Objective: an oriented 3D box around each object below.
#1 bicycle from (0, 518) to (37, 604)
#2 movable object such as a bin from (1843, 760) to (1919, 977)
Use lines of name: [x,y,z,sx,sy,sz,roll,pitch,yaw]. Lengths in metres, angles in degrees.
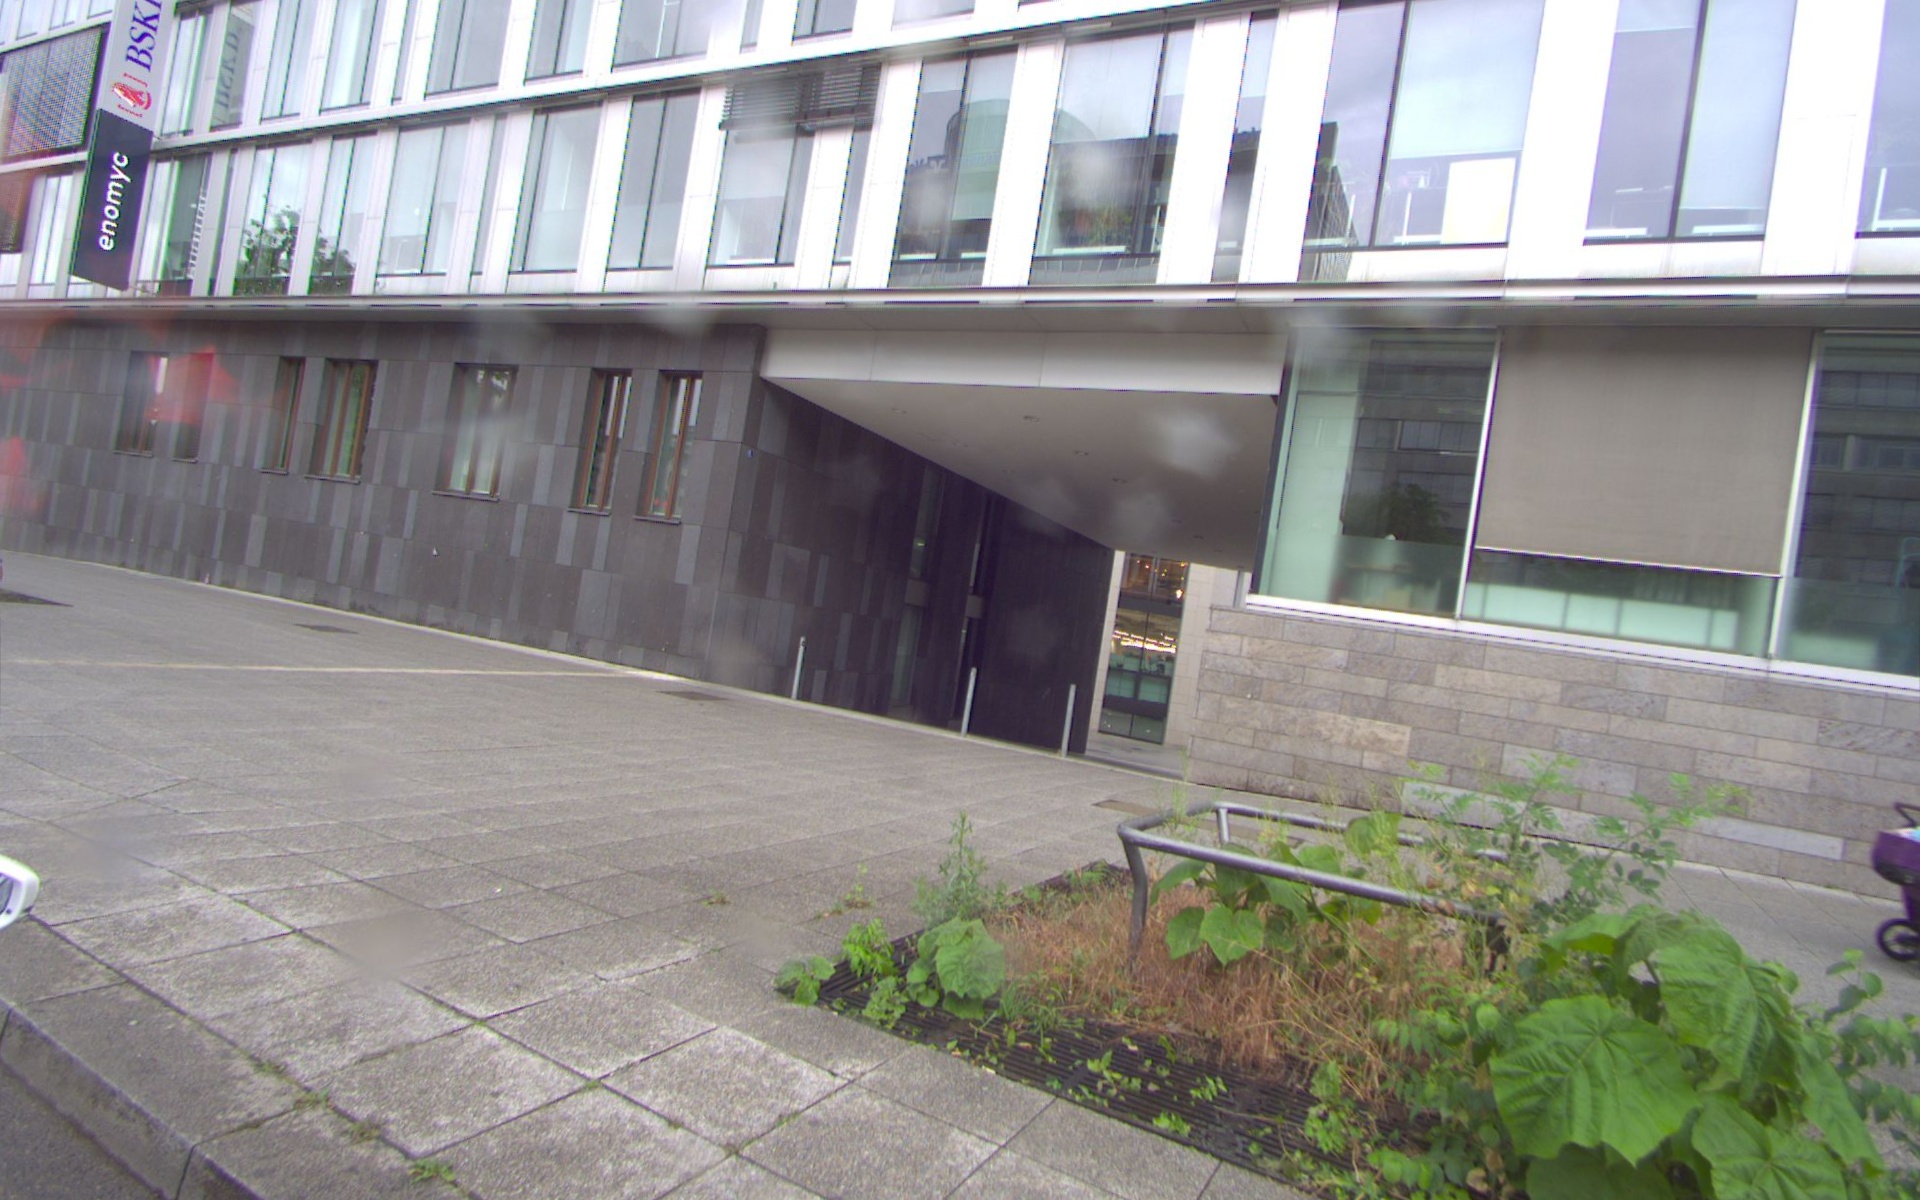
bicycle: [-13.074,-0.639,12.260,0.665,1.069,2.543,7,-2,27]
movable object such as a bin: [6.619,1.790,6.255,1.419,1.279,0.733,9,0,29]
